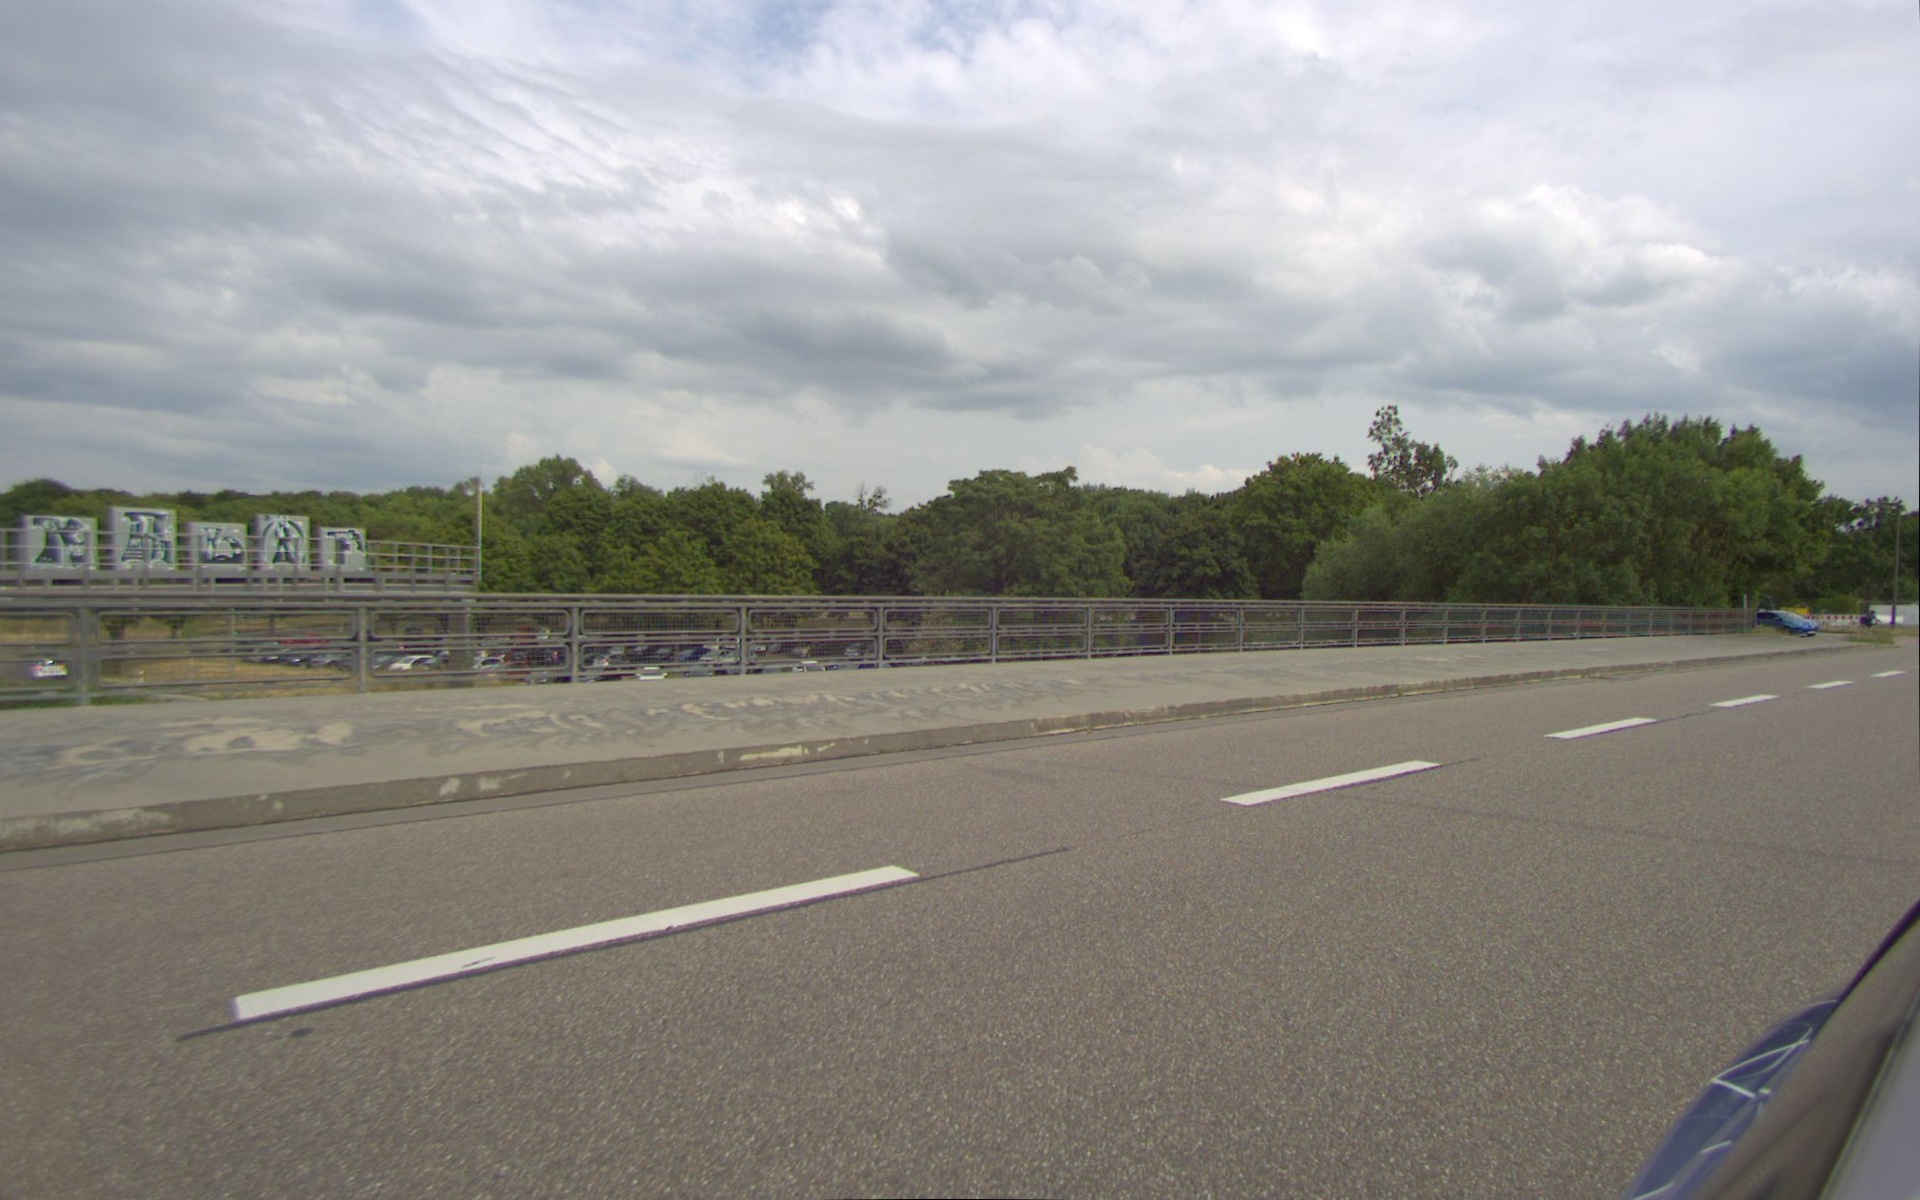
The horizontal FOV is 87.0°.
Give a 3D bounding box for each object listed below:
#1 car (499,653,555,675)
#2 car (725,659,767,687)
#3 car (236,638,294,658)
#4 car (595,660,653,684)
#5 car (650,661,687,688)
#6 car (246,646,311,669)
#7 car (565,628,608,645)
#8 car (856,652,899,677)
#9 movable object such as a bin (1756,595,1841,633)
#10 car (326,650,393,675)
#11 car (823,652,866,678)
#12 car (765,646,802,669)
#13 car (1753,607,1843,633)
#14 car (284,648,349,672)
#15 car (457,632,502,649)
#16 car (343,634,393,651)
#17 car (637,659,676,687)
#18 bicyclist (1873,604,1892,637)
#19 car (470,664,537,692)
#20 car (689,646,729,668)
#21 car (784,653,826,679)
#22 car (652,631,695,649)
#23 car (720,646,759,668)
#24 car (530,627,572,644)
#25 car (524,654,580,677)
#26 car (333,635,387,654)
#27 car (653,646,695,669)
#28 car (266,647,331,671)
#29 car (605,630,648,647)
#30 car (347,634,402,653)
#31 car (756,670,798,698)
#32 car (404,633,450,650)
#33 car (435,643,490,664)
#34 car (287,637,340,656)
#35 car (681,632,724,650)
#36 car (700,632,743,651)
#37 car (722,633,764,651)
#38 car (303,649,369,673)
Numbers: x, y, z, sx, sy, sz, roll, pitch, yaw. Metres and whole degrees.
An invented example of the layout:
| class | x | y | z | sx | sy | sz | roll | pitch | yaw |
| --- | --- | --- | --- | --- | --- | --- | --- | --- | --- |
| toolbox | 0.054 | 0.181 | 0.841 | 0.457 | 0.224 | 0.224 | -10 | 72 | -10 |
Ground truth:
| class | x | y | z | sx | sy | sz | roll | pitch | yaw |
| --- | --- | --- | --- | --- | --- | --- | --- | --- | --- |
| car | -36.274 | 5.352 | 84.881 | 1.983 | 1.594 | 3.958 | 0 | 0 | 30 |
| car | -14.976 | 5.067 | 70.726 | 1.959 | 1.594 | 4.006 | 0 | 0 | -26 |
| car | -64.391 | 4.401 | 93.793 | 1.983 | 1.594 | 3.958 | 0 | 0 | 30 |
| car | -26.111 | 5.575 | 78.737 | 1.983 | 1.594 | 3.958 | 0 | 0 | 30 |
| car | -21.160 | 5.405 | 73.460 | 1.959 | 1.594 | 4.006 | 0 | 0 | -26 |
| car | -55.249 | 4.675 | 82.117 | 1.983 | 1.594 | 3.958 | 0 | 0 | 30 |
| car | -39.797 | 3.893 | 107.862 | 1.982 | 1.594 | 3.959 | 0 | 0 | 29 |
| car | -6.257 | 4.814 | 76.367 | 1.959 | 1.594 | 4.006 | 0 | 0 | -26 |
| movable object such as a bin | 62.569 | 1.031 | 75.543 | 2.061 | 2.723 | 4.517 | 0 | 0 | -34 |
| car | -45.843 | 4.759 | 77.332 | 1.983 | 1.594 | 3.958 | 0 | 0 | 30 |
| car | -8.630 | 4.808 | 75.282 | 1.959 | 1.594 | 4.006 | 0 | 0 | -26 |
| car | -14.508 | 4.710 | 83.130 | 1.959 | 1.594 | 4.006 | 0 | 0 | -26 |
| car | 51.697 | 1.212 | 62.534 | 1.840 | 1.537 | 4.007 | 0 | 0 | -12 |
| car | -50.818 | 4.714 | 79.975 | 1.983 | 1.594 | 3.958 | 0 | 0 | 30 |
| car | -51.688 | 4.362 | 108.861 | 1.983 | 1.594 | 3.958 | 0 | 0 | 30 |
| car | -60.744 | 4.348 | 103.901 | 1.983 | 1.594 | 3.958 | 0 | 0 | 30 |
| car | -20.461 | 4.885 | 68.161 | 1.959 | 1.594 | 4.006 | 0 | 0 | -26 |
| bicyclist | 49.073 | 1.090 | 53.832 | 0.791 | 1.680 | 0.666 | 2 | -1 | -39 |
| car | -32.502 | 5.546 | 72.131 | 1.983 | 1.594 | 3.958 | 0 | 0 | 30 |
| car | -20.982 | 4.736 | 84.643 | 1.966 | 1.594 | 3.992 | 0 | 0 | 7 |
| car | -11.426 | 4.796 | 74.300 | 1.959 | 1.594 | 4.006 | 0 | 0 | -26 |
| car | -28.808 | 4.002 | 101.713 | 1.982 | 1.594 | 3.959 | 0 | 0 | 29 |
| car | -18.493 | 4.734 | 85.032 | 1.966 | 1.594 | 3.992 | 0 | 0 | 7 |
| car | -44.584 | 3.848 | 110.315 | 1.982 | 1.594 | 3.959 | 0 | 0 | 29 |
| car | -33.697 | 5.354 | 83.637 | 1.983 | 1.594 | 3.958 | 0 | 0 | 30 |
| car | -56.582 | 4.174 | 95.467 | 1.983 | 1.594 | 3.958 | 0 | 0 | 30 |
| car | -23.674 | 4.727 | 83.899 | 1.966 | 1.594 | 3.992 | 0 | 0 | 7 |
| car | -52.954 | 4.696 | 81.092 | 1.983 | 1.594 | 3.958 | 0 | 0 | 30 |
| car | -34.356 | 3.952 | 104.479 | 1.982 | 1.594 | 3.959 | 0 | 0 | 29 |
| car | -54.318 | 4.008 | 93.973 | 1.983 | 1.594 | 3.958 | 0 | 0 | 30 |
| car | -13.020 | 5.959 | 71.846 | 1.959 | 1.594 | 4.006 | 0 | 0 | -26 |
| car | -56.360 | 4.349 | 107.060 | 1.983 | 1.594 | 3.958 | 0 | 0 | 30 |
| car | -43.461 | 4.636 | 88.470 | 1.983 | 1.594 | 3.958 | 0 | 0 | 30 |
| car | -62.924 | 4.519 | 98.536 | 1.983 | 1.594 | 3.958 | 0 | 0 | 30 |
| car | -25.476 | 4.032 | 100.190 | 1.982 | 1.594 | 3.959 | 0 | 0 | 29 |
| car | -23.412 | 4.048 | 99.288 | 1.982 | 1.594 | 3.959 | 0 | 0 | 29 |
| car | -21.183 | 4.066 | 98.821 | 1.982 | 1.594 | 3.959 | 0 | 0 | 29 |
| car | -48.676 | 4.733 | 79.024 | 1.983 | 1.594 | 3.958 | 0 | 0 | 30 |
